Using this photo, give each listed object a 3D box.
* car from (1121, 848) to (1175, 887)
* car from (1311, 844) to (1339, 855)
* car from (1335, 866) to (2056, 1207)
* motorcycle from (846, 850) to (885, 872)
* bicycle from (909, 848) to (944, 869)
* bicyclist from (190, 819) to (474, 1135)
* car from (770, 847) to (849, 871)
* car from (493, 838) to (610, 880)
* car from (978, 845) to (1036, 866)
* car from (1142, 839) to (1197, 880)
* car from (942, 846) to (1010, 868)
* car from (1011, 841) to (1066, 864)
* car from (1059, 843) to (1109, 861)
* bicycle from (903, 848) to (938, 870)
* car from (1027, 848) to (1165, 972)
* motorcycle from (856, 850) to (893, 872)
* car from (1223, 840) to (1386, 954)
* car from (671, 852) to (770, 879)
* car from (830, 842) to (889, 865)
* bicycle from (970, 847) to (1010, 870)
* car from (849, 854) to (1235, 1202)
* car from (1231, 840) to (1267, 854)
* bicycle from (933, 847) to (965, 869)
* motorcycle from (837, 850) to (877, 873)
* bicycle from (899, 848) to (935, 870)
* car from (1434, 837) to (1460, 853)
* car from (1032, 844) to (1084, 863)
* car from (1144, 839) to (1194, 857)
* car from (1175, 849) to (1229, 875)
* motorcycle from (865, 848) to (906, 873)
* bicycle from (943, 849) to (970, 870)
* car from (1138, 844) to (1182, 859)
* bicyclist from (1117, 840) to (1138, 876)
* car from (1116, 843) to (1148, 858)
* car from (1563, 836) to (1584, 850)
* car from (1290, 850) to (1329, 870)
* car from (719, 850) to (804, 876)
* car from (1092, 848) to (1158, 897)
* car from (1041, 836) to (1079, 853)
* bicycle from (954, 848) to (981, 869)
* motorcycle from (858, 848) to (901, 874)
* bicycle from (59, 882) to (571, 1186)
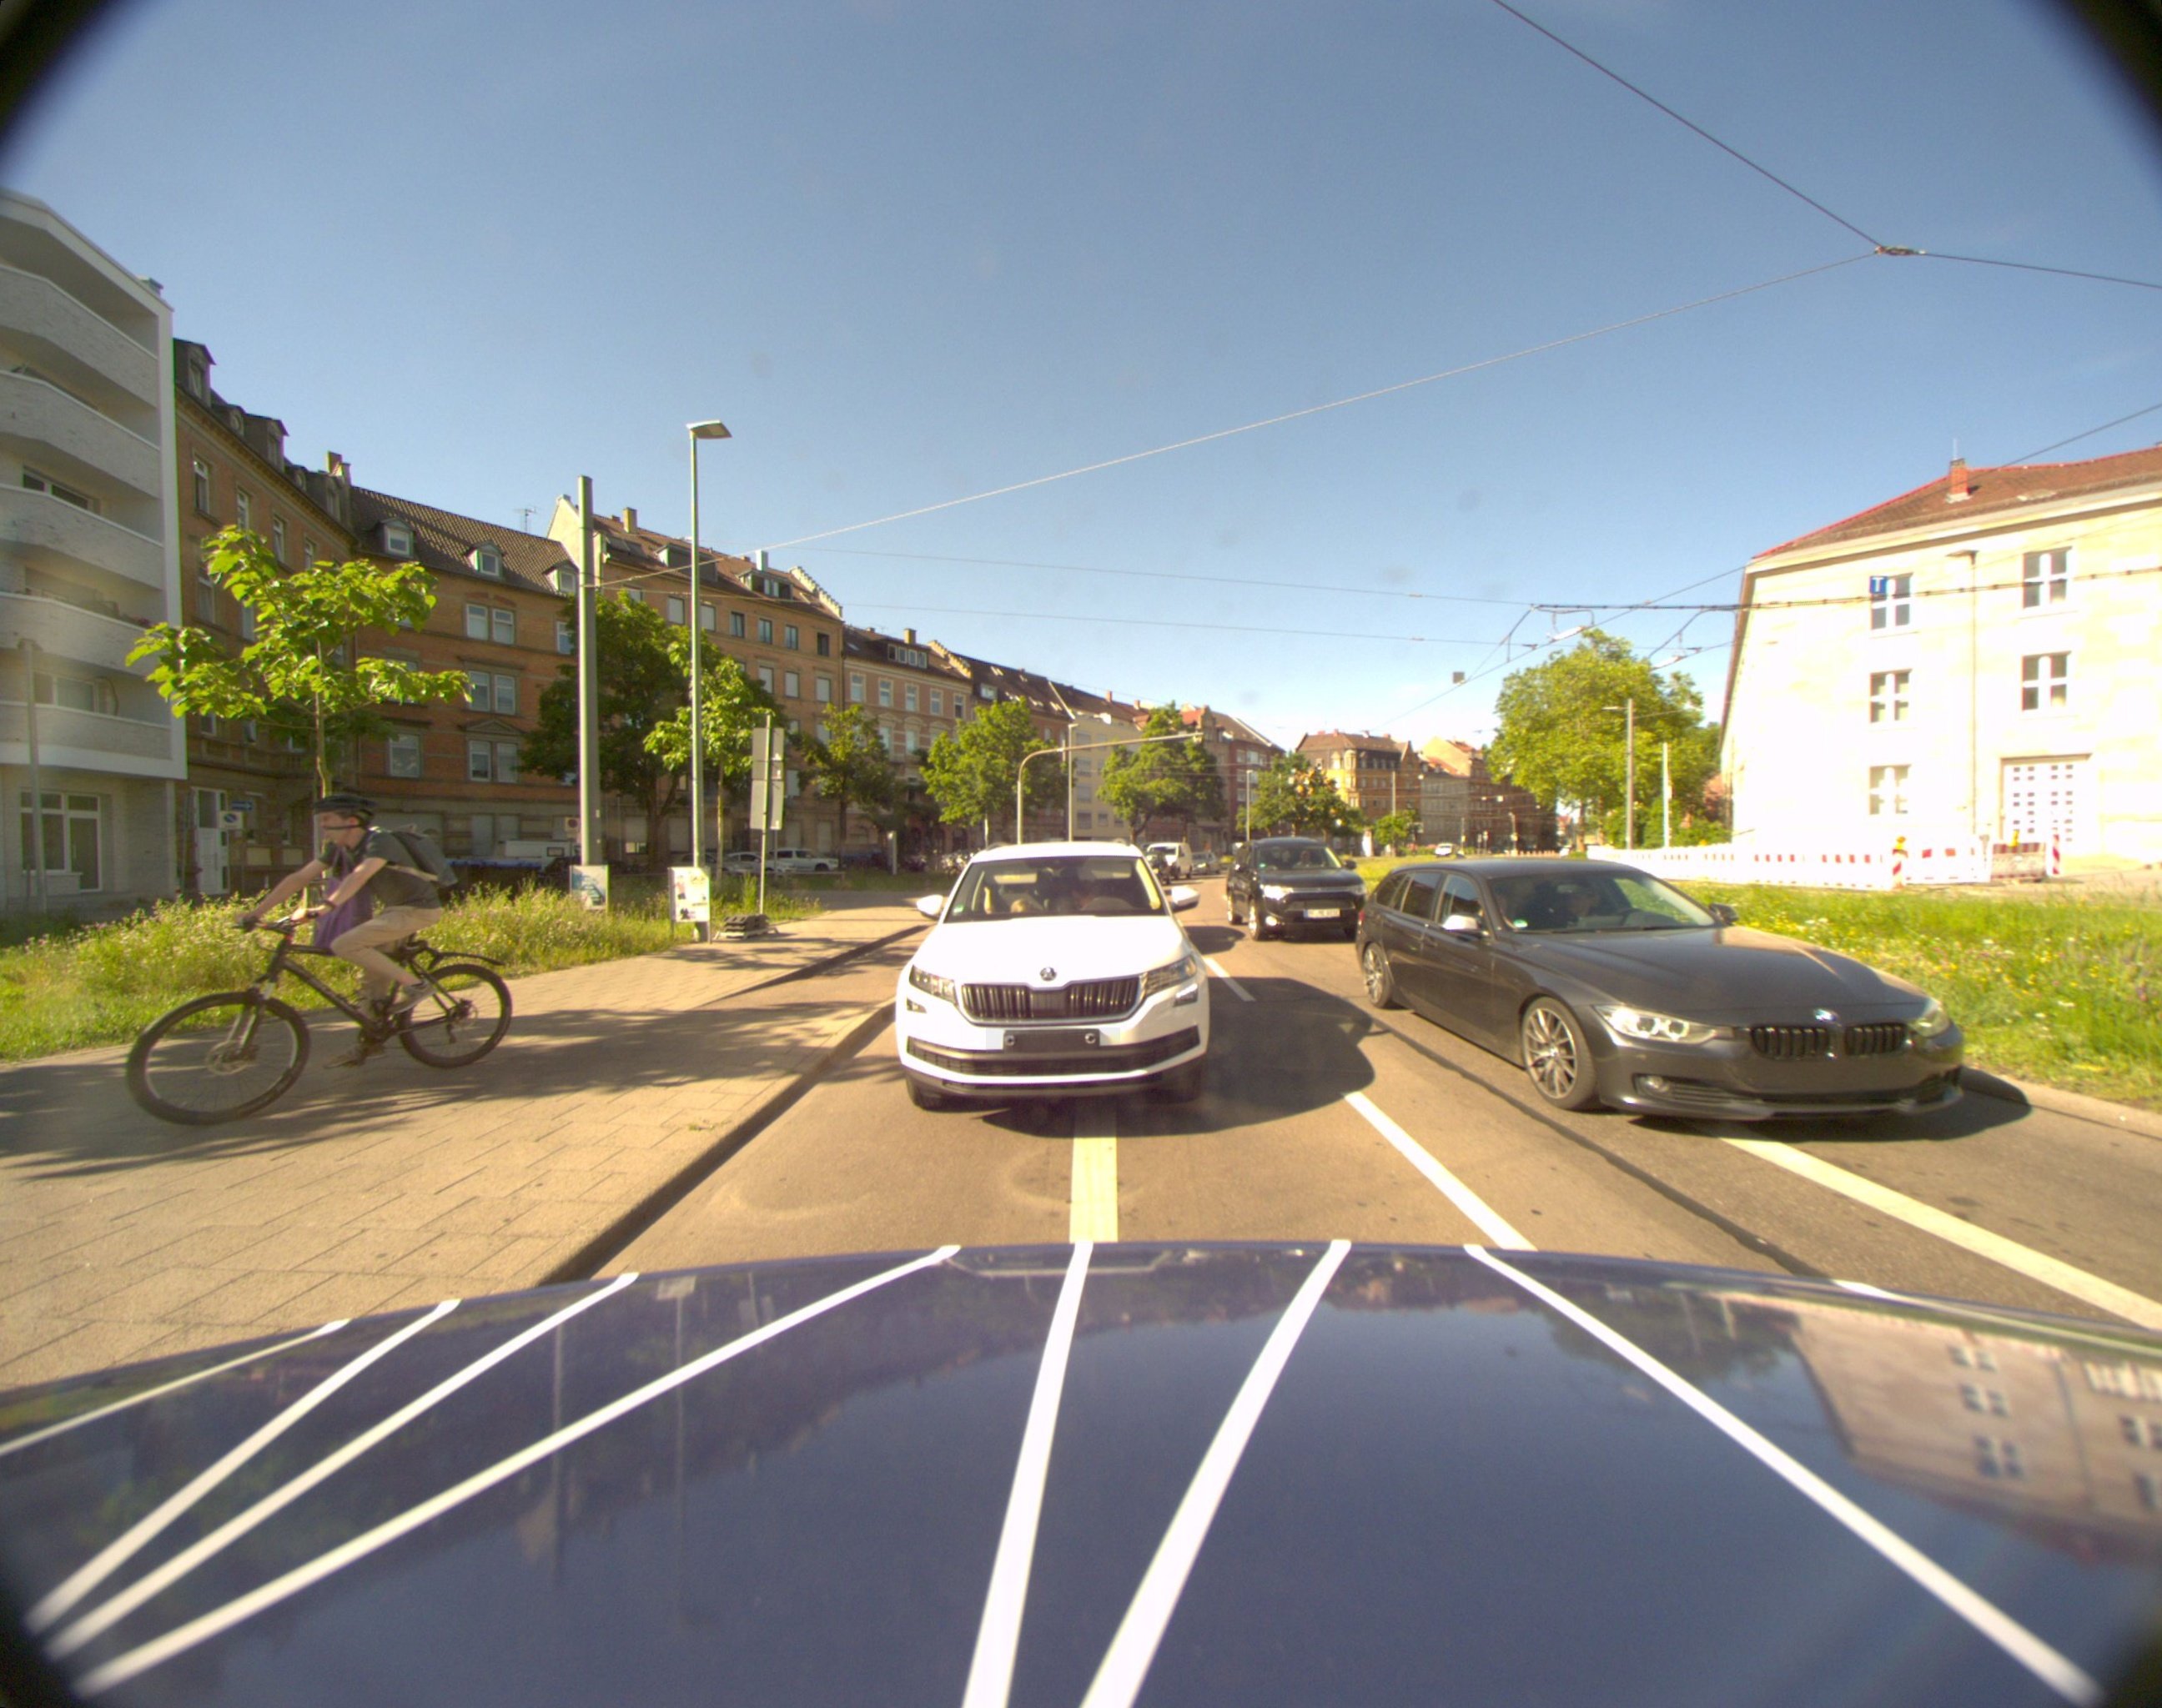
[{"bbox_3d":[3.123,0.559,34.866,1.837,1.637,4.152,0,1,14],"label":"car"},{"bbox_3d":[40.415,-0.726,125.993,3.989,1.641,1.866,-2,1,31],"label":"car"},{"bbox_3d":[3.479,0.851,5.594,1.741,1.359,4.426,-2,0,1],"label":"car"},{"bbox_3d":[-12.940,0.417,45.625,2.314,1.276,0.664,-2,1,24],"label":"motorcycle"},{"bbox_3d":[-9.510,0.282,46.712,2.198,1.260,0.664,-2,1,32],"label":"bicycle"},{"bbox_3d":[-4.498,0.655,4.625,0.734,1.685,0.973,0,1,22],"label":"bicyclist"},{"bbox_3d":[-14.681,0.258,41.194,3.700,1.244,1.540,0,1,2],"label":"car"},{"bbox_3d":[-27.118,0.218,39.009,2.047,2.026,4.510,1,2,41],"label":"car"},{"bbox_3d":[-5.227,0.090,53.965,3.822,1.398,1.683,0,1,9],"label":"car"},{"bbox_3d":[4.856,0.219,41.054,1.979,2.074,4.719,0,1,19],"label":"car"},{"bbox_3d":[-7.043,0.178,51.295,4.322,1.398,1.682,0,1,3],"label":"car"},{"bbox_3d":[-3.108,-0.134,56.104,3.825,1.698,1.682,0,1,3],"label":"car"},{"bbox_3d":[0.260,-0.157,61.165,3.823,1.398,1.600,0,1,6],"label":"car"},{"bbox_3d":[-9.707,0.297,46.009,2.198,1.260,0.664,-2,1,32],"label":"bicycle"},{"bbox_3d":[0.235,0.764,12.608,1.842,1.636,4.397,-2,0,1],"label":"car"},{"bbox_3d":[-12.603,0.404,46.404,2.199,1.260,0.664,-2,1,24],"label":"motorcycle"},{"bbox_3d":[3.698,0.628,13.398,1.841,1.636,4.399,-2,0,5],"label":"car"},{"bbox_3d":[-17.500,0.535,36.906,4.156,1.244,1.683,0,1,13],"label":"car"},{"bbox_3d":[-15.611,-0.054,53.671,1.547,1.578,3.709,1,2,41],"label":"car"},{"bbox_3d":[-5.476,0.270,45.739,2.207,1.260,0.662,-3,1,-25],"label":"bicycle"},{"bbox_3d":[-0.227,0.856,5.950,1.842,1.636,4.397,-2,0,-1],"label":"car"},{"bbox_3d":[18.693,-0.816,84.659,3.823,1.581,1.600,0,1,6],"label":"car"},{"bbox_3d":[-7.729,0.242,44.518,0.664,1.260,2.198,-3,1,-45],"label":"bicycle"},{"bbox_3d":[-13.289,0.441,45.019,2.314,1.270,0.664,-2,1,24],"label":"motorcycle"},{"bbox_3d":[-9.743,0.309,45.070,2.198,1.260,0.664,-2,1,30],"label":"bicycle"},{"bbox_3d":[46.769,-1.133,97.042,1.994,1.864,4.599,-1,1,37],"label":"car"},{"bbox_3d":[-1.776,-0.051,58.712,3.823,1.398,1.600,0,1,6],"label":"car"},{"bbox_3d":[8.197,-0.585,70.609,4.578,1.658,1.600,0,1,7],"label":"car"},{"bbox_3d":[7.629,0.462,47.580,1.836,1.464,4.721,0,1,29],"label":"car"},{"bbox_3d":[-11.149,0.360,43.293,2.200,1.315,0.664,-2,1,18],"label":"motorcycle"},{"bbox_3d":[-7.686,0.343,46.760,0.664,1.260,2.199,-3,1,-36],"label":"bicycle"},{"bbox_3d":[7.125,-0.245,68.179,3.823,1.372,1.600,0,1,9],"label":"car"},{"bbox_3d":[2.654,0.218,43.093,0.847,2.002,1.198,0,1,21],"label":"bicyclist"},{"bbox_3d":[5.468,-0.418,80.728,1.547,1.578,3.607,1,2,41],"label":"car"},{"bbox_3d":[60.896,-1.351,93.921,1.820,1.636,4.190,-1,0,37],"label":"car"},{"bbox_3d":[20.026,0.530,66.502,1.835,1.637,4.157,1,2,40],"label":"car"},{"bbox_3d":[-16.407,0.442,39.105,3.696,1.244,1.683,0,1,13],"label":"car"},{"bbox_3d":[1.643,0.601,26.957,1.838,1.543,4.151,0,1,10],"label":"car"},{"bbox_3d":[-1.940,-0.939,71.665,1.547,1.578,3.607,1,2,41],"label":"car"},{"bbox_3d":[-7.123,0.311,47.754,0.664,1.260,2.199,-3,1,-36],"label":"bicycle"},{"bbox_3d":[-11.179,0.377,42.207,2.200,1.322,0.663,-2,1,13],"label":"motorcycle"},{"bbox_3d":[-4.459,0.898,4.708,0.735,1.353,2.078,0,1,21],"label":"bicycle"}]
